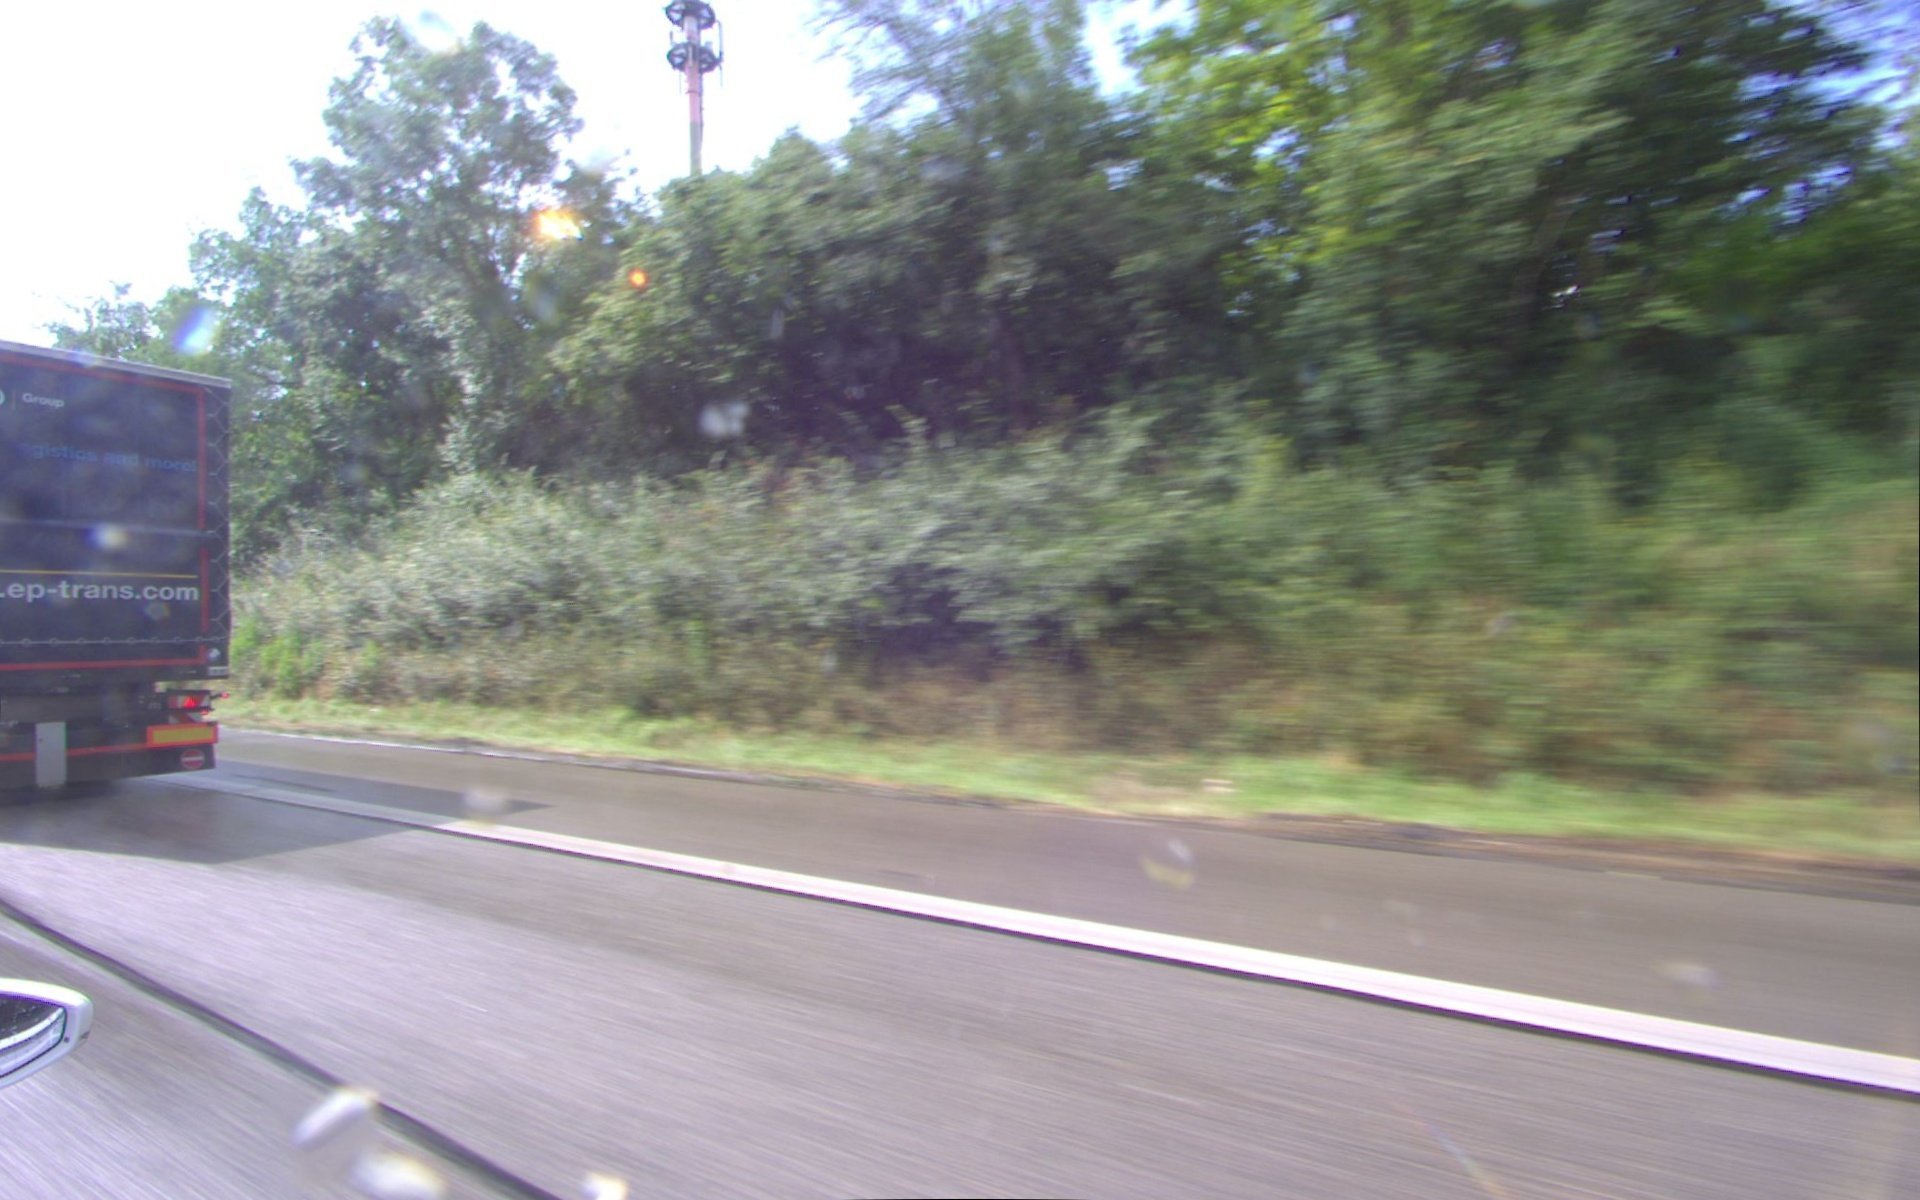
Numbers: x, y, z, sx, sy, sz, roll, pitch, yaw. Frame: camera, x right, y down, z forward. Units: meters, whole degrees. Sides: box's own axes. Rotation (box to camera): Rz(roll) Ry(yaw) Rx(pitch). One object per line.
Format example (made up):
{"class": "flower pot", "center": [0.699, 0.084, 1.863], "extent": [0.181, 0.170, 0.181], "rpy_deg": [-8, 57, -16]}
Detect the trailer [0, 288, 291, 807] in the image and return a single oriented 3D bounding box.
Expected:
{"class": "trailer", "center": [-13.579, -0.285, 12.759], "extent": [13.905, 4.368, 3.083], "rpy_deg": [-1, -2, 33]}
